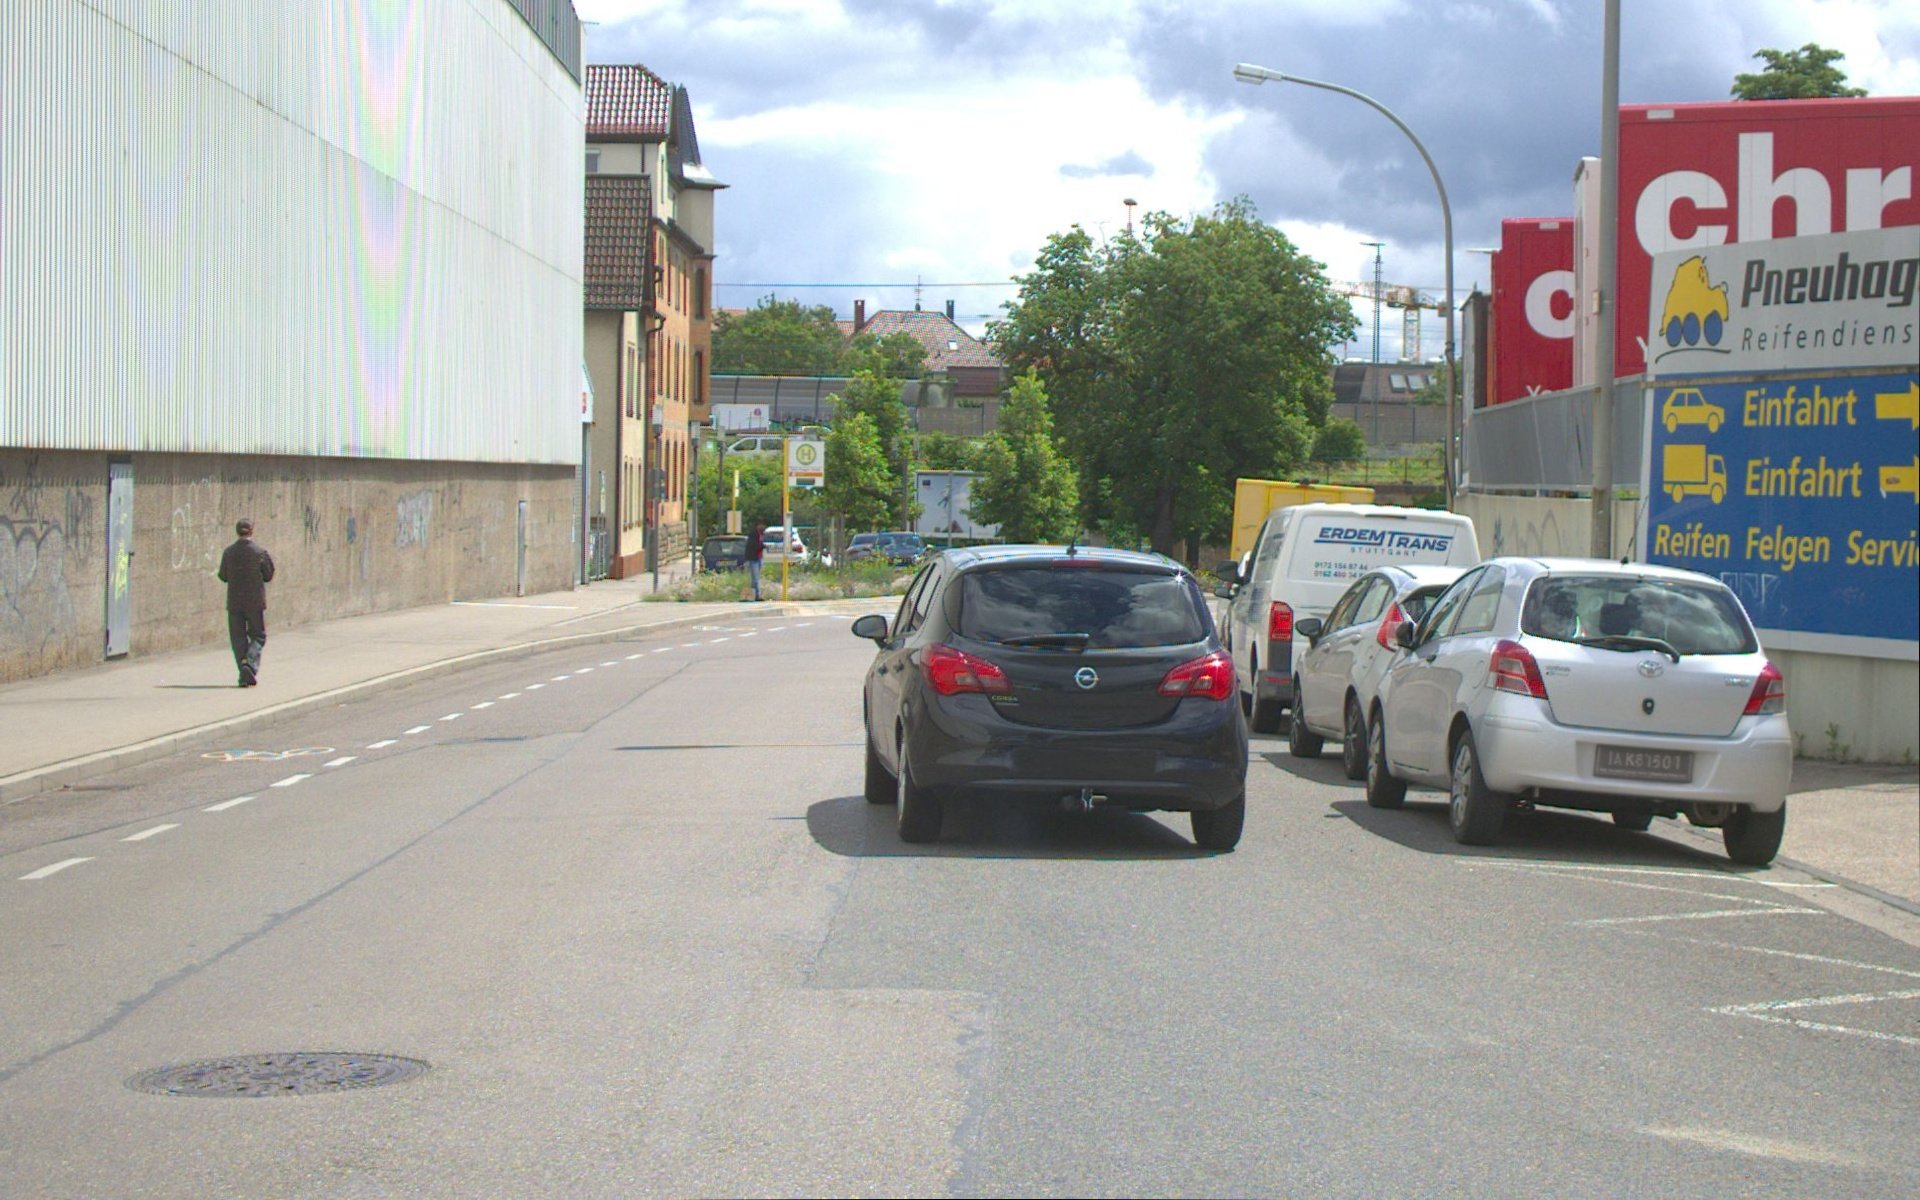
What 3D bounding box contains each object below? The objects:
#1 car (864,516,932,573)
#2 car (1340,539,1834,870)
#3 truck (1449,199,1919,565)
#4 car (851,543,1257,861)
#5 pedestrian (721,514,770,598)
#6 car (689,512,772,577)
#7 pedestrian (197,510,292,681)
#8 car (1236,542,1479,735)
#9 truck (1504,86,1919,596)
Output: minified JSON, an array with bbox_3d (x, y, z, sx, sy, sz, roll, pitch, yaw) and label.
[{"bbox_3d":[-1.760,-1.544,97.245,1.852,1.481,4.000,1,-1,-1],"label":"car"},{"bbox_3d":[3.313,0.486,18.880,1.701,1.522,3.739,4,1,-4],"label":"car"},{"bbox_3d":[10.876,-2.852,45.889,8.454,4.655,2.581,1,-1,11],"label":"truck"},{"bbox_3d":[0.382,0.450,17.937,1.701,1.442,3.795,1,1,-4],"label":"car"},{"bbox_3d":[-4.307,-0.883,69.079,0.853,1.657,0.860,1,-1,4],"label":"pedestrian"},{"bbox_3d":[-5.701,-1.365,85.795,1.852,1.481,4.000,1,-1,-1],"label":"car"},{"bbox_3d":[-6.947,-0.038,33.409,0.713,1.632,0.777,1,-1,2],"label":"pedestrian"},{"bbox_3d":[3.366,0.277,29.688,1.701,1.522,3.738,1,1,1],"label":"car"},{"bbox_3d":[9.657,-2.378,32.672,8.459,4.655,2.579,1,-1,21],"label":"truck"}]
